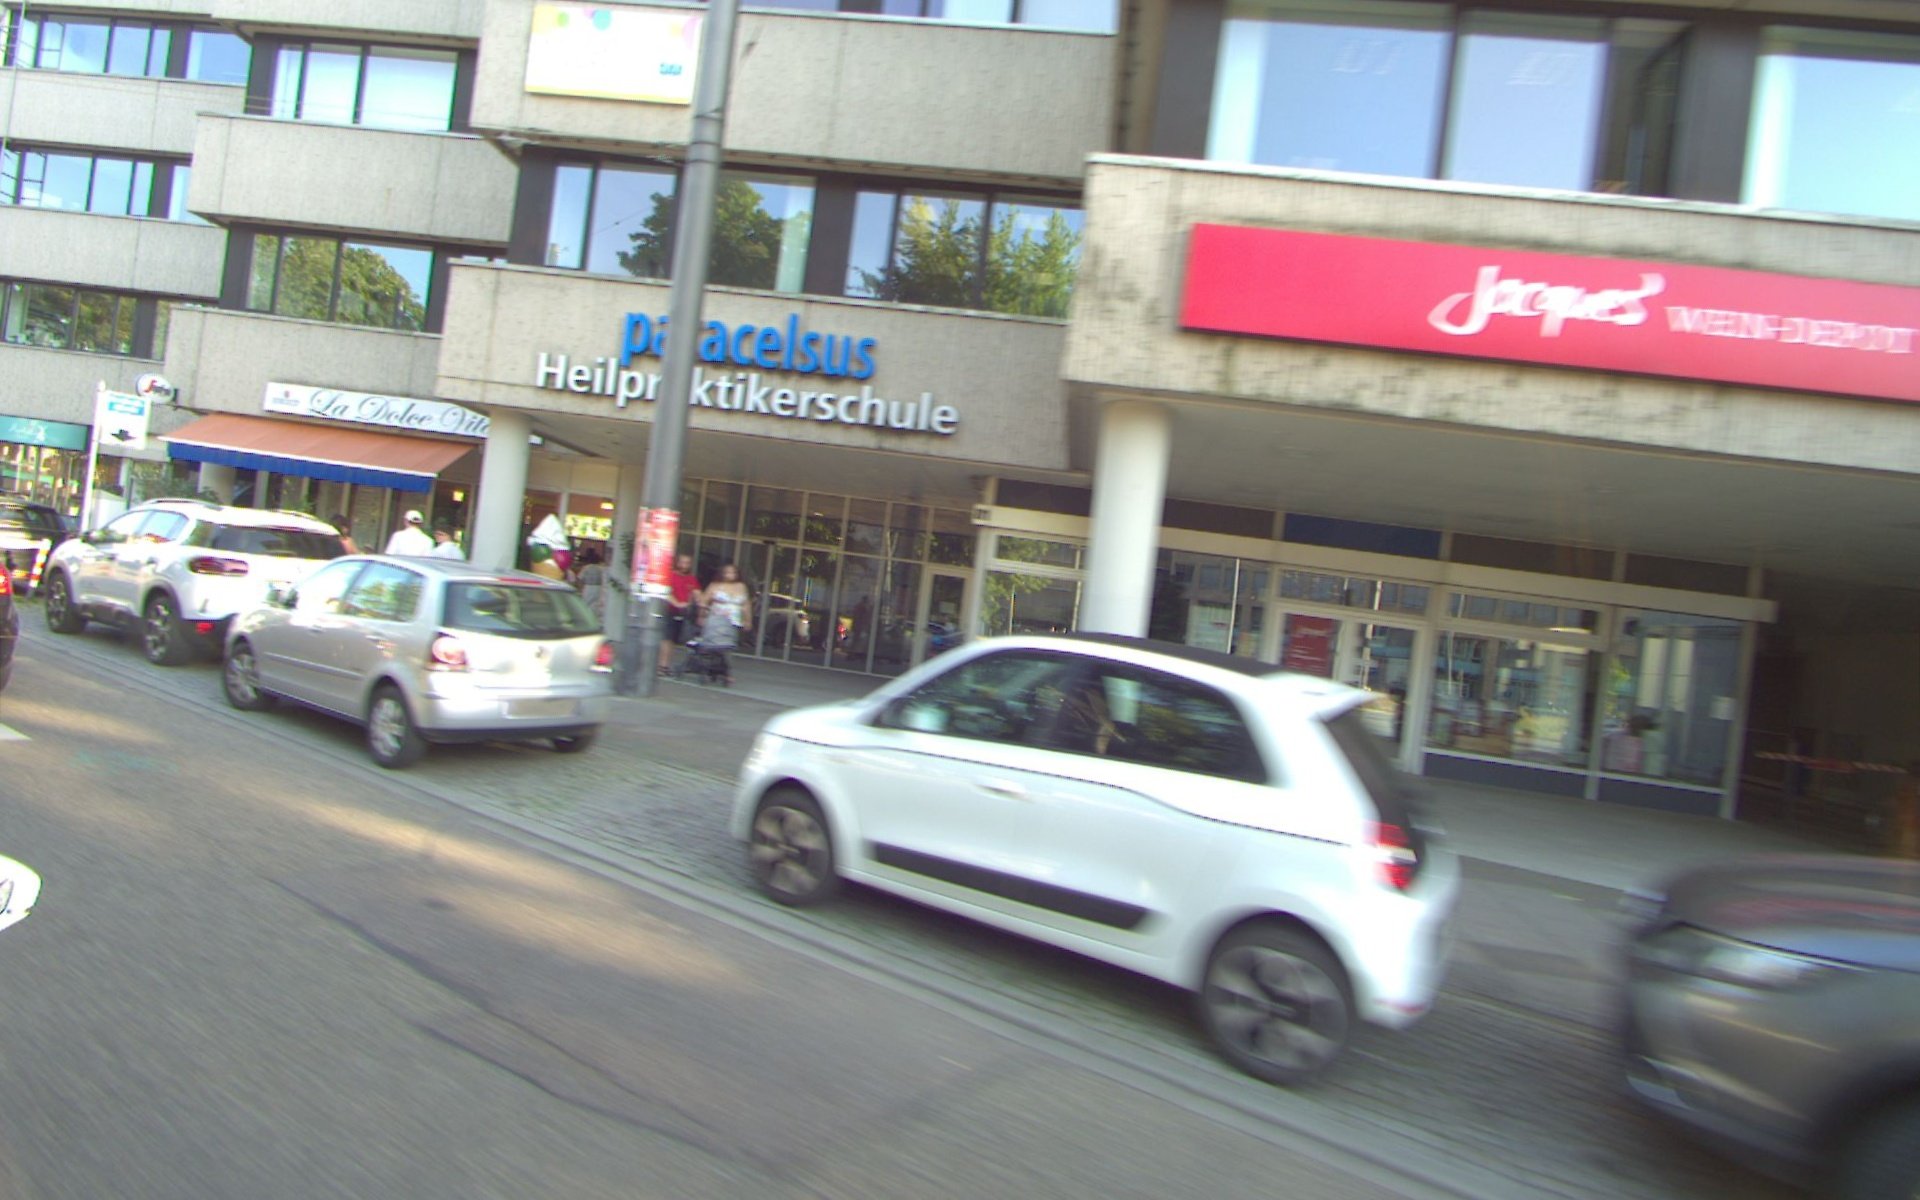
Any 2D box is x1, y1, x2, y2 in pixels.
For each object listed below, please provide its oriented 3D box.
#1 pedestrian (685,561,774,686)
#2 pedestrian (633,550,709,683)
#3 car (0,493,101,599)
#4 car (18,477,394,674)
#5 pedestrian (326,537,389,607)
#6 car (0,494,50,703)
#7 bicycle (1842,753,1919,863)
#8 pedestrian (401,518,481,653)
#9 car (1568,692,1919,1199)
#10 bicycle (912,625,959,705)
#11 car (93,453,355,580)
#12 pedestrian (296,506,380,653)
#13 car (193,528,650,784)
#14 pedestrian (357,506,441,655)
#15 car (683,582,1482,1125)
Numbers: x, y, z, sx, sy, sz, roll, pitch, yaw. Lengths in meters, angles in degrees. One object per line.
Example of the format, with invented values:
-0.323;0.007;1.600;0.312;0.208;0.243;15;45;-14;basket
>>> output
-3.354;0.337;14.632;0.980;1.694;0.637;7;1;-26;pedestrian
-4.089;0.212;14.195;0.691;1.748;1.026;7;1;-25;pedestrian
-15.428;-0.968;15.813;3.757;1.460;1.664;7;1;29;car
-8.785;-0.329;11.628;4.429;1.736;1.869;7;1;31;car
-11.951;-0.545;19.957;0.650;1.298;0.768;6;1;4;pedestrian
-8.814;-0.271;7.671;4.037;1.478;1.750;7;-2;34;car
11.632;2.553;12.315;0.475;1.088;1.870;7;1;19;bicycle
-7.108;-0.196;13.788;0.651;1.763;0.622;7;2;34;pedestrian
4.178;1.365;2.710;4.166;1.577;1.782;7;1;33;car
-0.406;1.005;16.029;0.475;1.086;1.756;7;1;-6;bicycle
-18.237;-1.947;25.364;2.052;2.472;5.335;6;0;7;car
-7.896;-0.248;12.769;0.651;1.783;0.578;7;2;34;pedestrian
-4.547;0.339;8.330;3.792;1.460;1.662;7;1;34;car
-7.413;-0.252;13.291;0.651;1.882;0.622;7;2;34;pedestrian
0.514;0.906;5.103;3.550;1.577;1.608;7;1;32;car
